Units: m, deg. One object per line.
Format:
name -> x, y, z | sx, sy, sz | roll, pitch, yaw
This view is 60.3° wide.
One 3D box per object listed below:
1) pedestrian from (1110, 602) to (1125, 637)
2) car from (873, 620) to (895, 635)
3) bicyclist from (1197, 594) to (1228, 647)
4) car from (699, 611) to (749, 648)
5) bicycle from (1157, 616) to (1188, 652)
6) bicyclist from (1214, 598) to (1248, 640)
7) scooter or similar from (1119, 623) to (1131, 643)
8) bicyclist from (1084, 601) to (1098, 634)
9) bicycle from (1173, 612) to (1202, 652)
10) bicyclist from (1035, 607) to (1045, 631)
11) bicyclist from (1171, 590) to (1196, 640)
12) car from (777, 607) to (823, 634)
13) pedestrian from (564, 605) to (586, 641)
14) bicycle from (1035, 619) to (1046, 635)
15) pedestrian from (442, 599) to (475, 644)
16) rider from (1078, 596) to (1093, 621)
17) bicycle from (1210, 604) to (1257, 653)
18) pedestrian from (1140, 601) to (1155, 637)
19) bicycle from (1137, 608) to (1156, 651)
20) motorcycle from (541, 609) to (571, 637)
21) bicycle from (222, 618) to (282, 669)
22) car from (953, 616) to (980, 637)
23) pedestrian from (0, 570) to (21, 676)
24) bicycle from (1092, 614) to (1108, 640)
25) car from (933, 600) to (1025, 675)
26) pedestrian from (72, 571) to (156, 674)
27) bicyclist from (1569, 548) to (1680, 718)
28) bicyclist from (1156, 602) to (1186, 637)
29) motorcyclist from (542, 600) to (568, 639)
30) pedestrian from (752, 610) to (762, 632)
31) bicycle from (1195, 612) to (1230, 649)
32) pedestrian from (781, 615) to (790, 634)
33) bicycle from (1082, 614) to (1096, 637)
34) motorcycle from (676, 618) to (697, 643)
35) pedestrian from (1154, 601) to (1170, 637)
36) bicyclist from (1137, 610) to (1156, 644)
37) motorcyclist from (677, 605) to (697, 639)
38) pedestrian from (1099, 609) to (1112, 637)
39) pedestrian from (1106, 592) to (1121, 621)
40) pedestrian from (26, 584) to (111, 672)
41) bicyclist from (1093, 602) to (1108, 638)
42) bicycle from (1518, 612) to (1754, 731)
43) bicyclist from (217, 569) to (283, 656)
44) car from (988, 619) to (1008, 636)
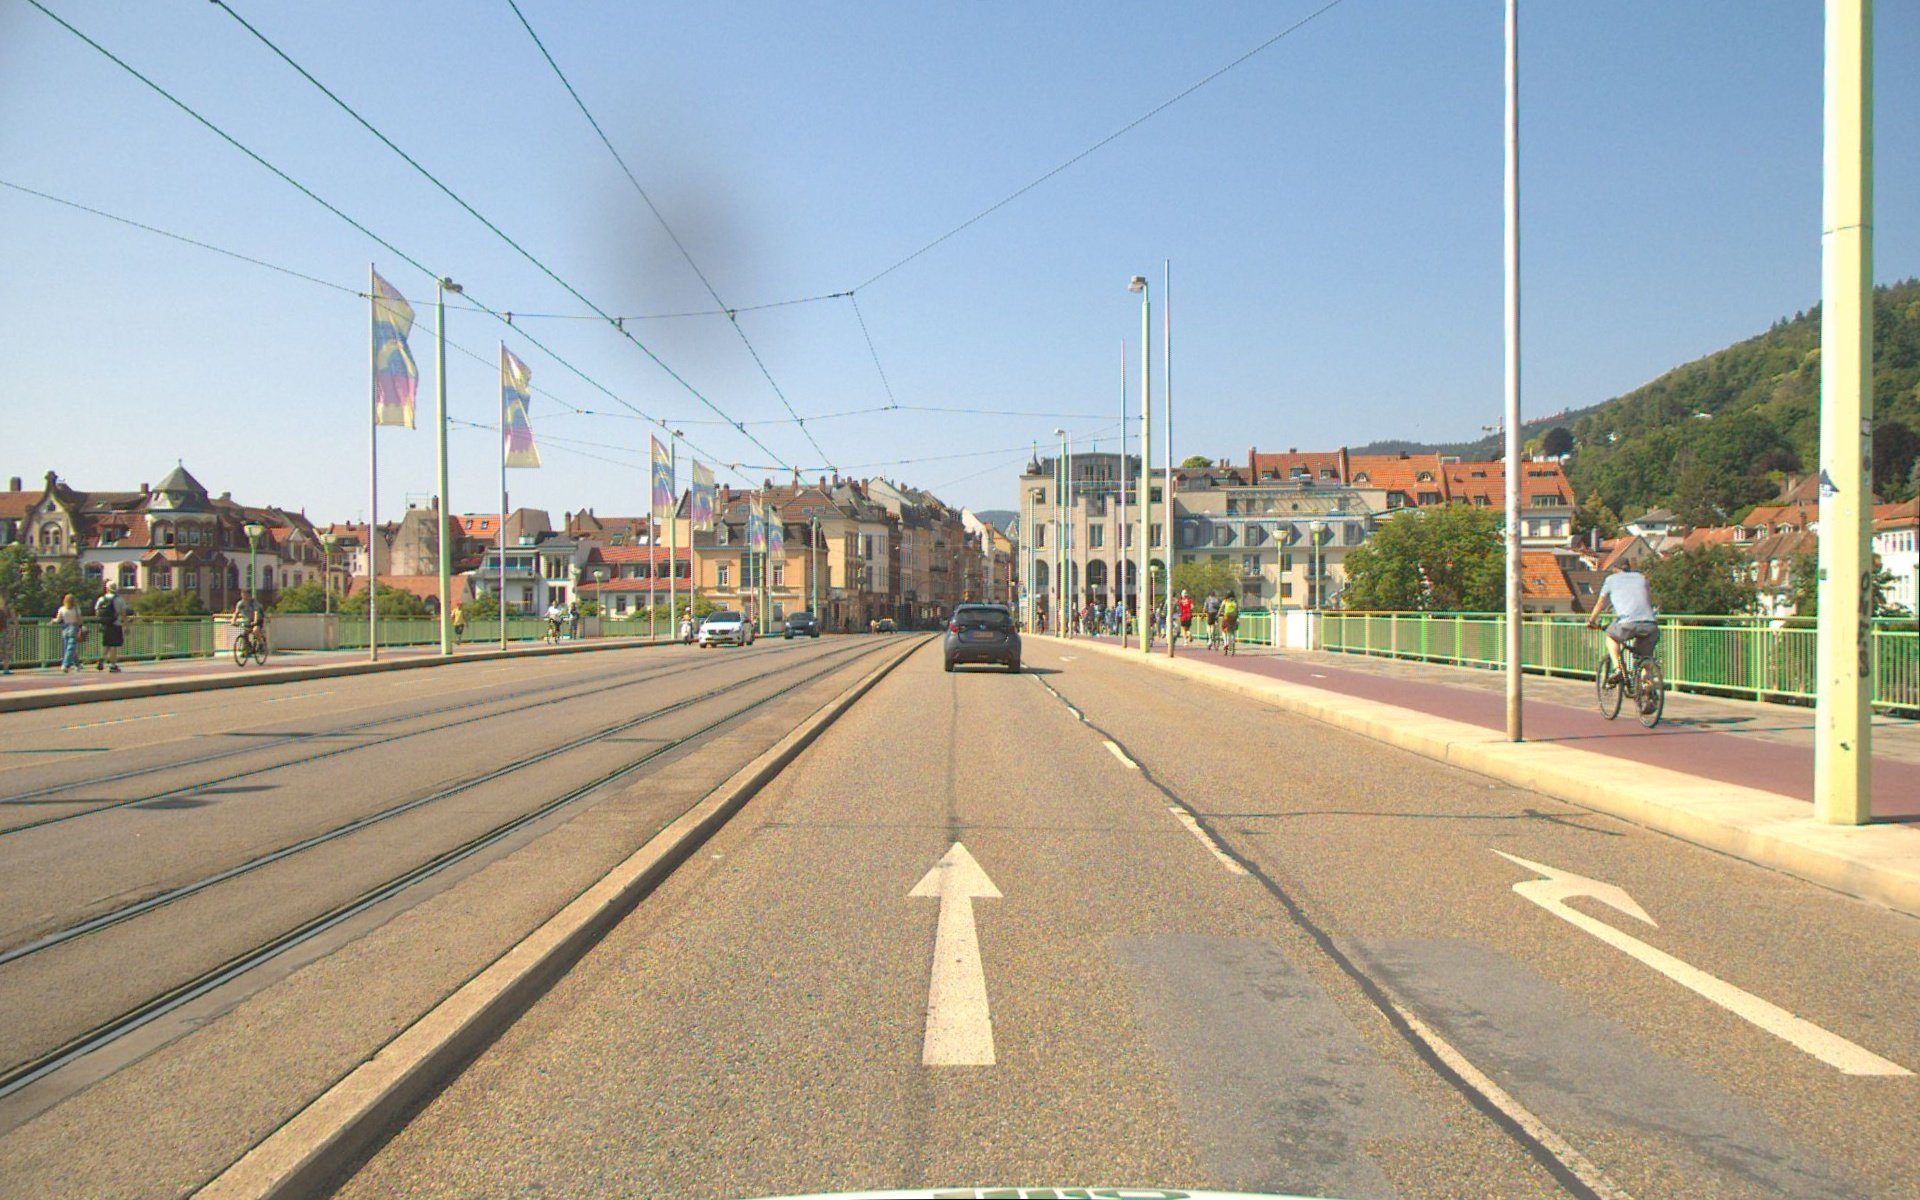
pedestrian -> 8.499, 1.057, 89.174 | 0.698, 1.842, 0.848 | 0, -1, 0
car -> -8.147, 2.960, 177.431 | 1.951, 1.505, 4.002 | 0, 0, 4
bicyclist -> 7.331, 0.584, 48.098 | 0.720, 1.527, 0.980 | 0, 0, -2
car -> -9.654, 1.178, 67.911 | 1.956, 1.434, 4.540 | 0, 0, -7
bicycle -> 6.448, 1.029, 50.192 | 0.606, 1.056, 2.050 | 0, 0, -2
bicyclist -> 6.927, 0.475, 42.264 | 0.653, 1.063, 0.979 | 0, 0, -5
scooter or similar -> 9.231, 1.843, 92.392 | 0.576, 1.088, 0.865 | 0, 0, -2
bicyclist -> 6.661, 0.891, 84.351 | 0.615, 1.719, 0.868 | 0, -1, -2
bicycle -> 7.650, 1.069, 55.652 | 0.606, 1.293, 2.215 | 0, 0, -2
bicyclist -> 5.314, 1.284, 109.935 | 0.639, 1.594, 1.338 | -2, -1, 1
bicyclist -> 7.541, 0.502, 55.812 | 0.720, 1.664, 0.866 | 0, -1, -2
car -> -9.843, 1.278, 102.048 | 1.951, 1.627, 4.341 | 0, 0, 7
pedestrian -> -18.791, 1.116, 80.726 | 0.813, 1.752, 1.094 | 0, 0, 0
bicycle -> 5.330, 1.795, 109.850 | 0.639, 0.999, 2.178 | -2, -1, 1
pedestrian -> -18.886, 0.813, 62.304 | 0.880, 1.687, 1.029 | 0, -1, 2
rider -> 8.018, 0.542, 105.379 | 0.871, 1.531, 0.841 | 0, -1, -2
bicycle -> 6.930, 0.715, 41.984 | 0.681, 1.214, 2.077 | -1, -1, -5
pedestrian -> 8.450, 0.865, 74.576 | 0.587, 1.614, 0.866 | 0, -1, -2
bicycle -> 6.174, 0.949, 54.653 | 0.523, 1.391, 2.218 | 0, 0, 9
motorcycle -> -16.323, 0.926, 66.888 | 0.686, 1.129, 2.178 | 0, 0, -1
bicycle -> -16.466, 0.998, 38.504 | 0.577, 1.116, 2.112 | 0, 0, -3
car -> 0.463, 2.007, 124.411 | 1.768, 1.494, 3.997 | -2, 0, -3
pedestrian -> -19.032, 0.438, 32.012 | 1.075, 2.049, 1.128 | 0, 0, -3
bicycle -> 6.723, 1.291, 79.465 | 0.581, 1.199, 1.939 | 0, 0, -1
car -> 0.388, 0.809, 37.840 | 1.872, 1.567, 3.998 | -1, 0, -3
pedestrian -> -17.176, 0.440, 33.602 | 1.075, 2.049, 1.294 | 0, 0, -3
bicyclist -> 7.185, 0.347, 17.931 | 0.660, 1.774, 1.149 | -1, 0, -4
bicyclist -> 6.417, 0.597, 50.317 | 0.720, 1.048, 1.175 | 0, 0, -2
motorcyclist -> -16.346, 0.786, 66.811 | 0.784, 1.576, 1.069 | 0, 0, -1
pedestrian -> -17.144, 1.777, 139.712 | 0.747, 1.818, 0.663 | 0, -1, 2
bicycle -> 7.320, 0.876, 48.060 | 0.606, 1.056, 2.265 | 0, 0, -2
pedestrian -> -15.830, 2.210, 150.111 | 0.747, 1.694, 0.663 | 0, -1, 2
bicycle -> 6.614, 1.299, 84.656 | 0.515, 1.199, 2.028 | 0, 0, -1
motorcycle -> -13.115, 1.457, 79.393 | 0.686, 1.129, 2.178 | 0, 0, -1
pedestrian -> 9.130, 0.852, 74.630 | 0.587, 1.614, 0.866 | 0, -1, -2
bicyclist -> 6.174, 0.889, 54.771 | 0.586, 1.121, 0.853 | 0, 0, 10
motorcyclist -> -13.122, 1.066, 79.493 | 0.811, 1.601, 0.832 | 0, -1, -1
pedestrian -> 7.895, 1.249, 89.891 | 0.601, 1.491, 0.848 | 0, 0, 0
pedestrian -> 9.308, 0.375, 100.152 | 0.817, 1.719, 0.869 | 0, 0, 0
pedestrian -> -18.144, 0.556, 33.692 | 1.075, 1.759, 1.294 | 0, 0, -3
bicyclist -> 6.724, 0.952, 79.177 | 0.643, 1.705, 0.868 | 0, -1, -2
bicycle -> 7.213, 0.706, 17.973 | 0.777, 1.115, 3.741 | -1, 0, -4
bicyclist -> -16.495, 0.282, 38.449 | 1.075, 1.995, 1.128 | 0, 0, -3
car -> 3.581, 2.595, 154.524 | 1.766, 1.494, 4.001 | -2, 0, 2
